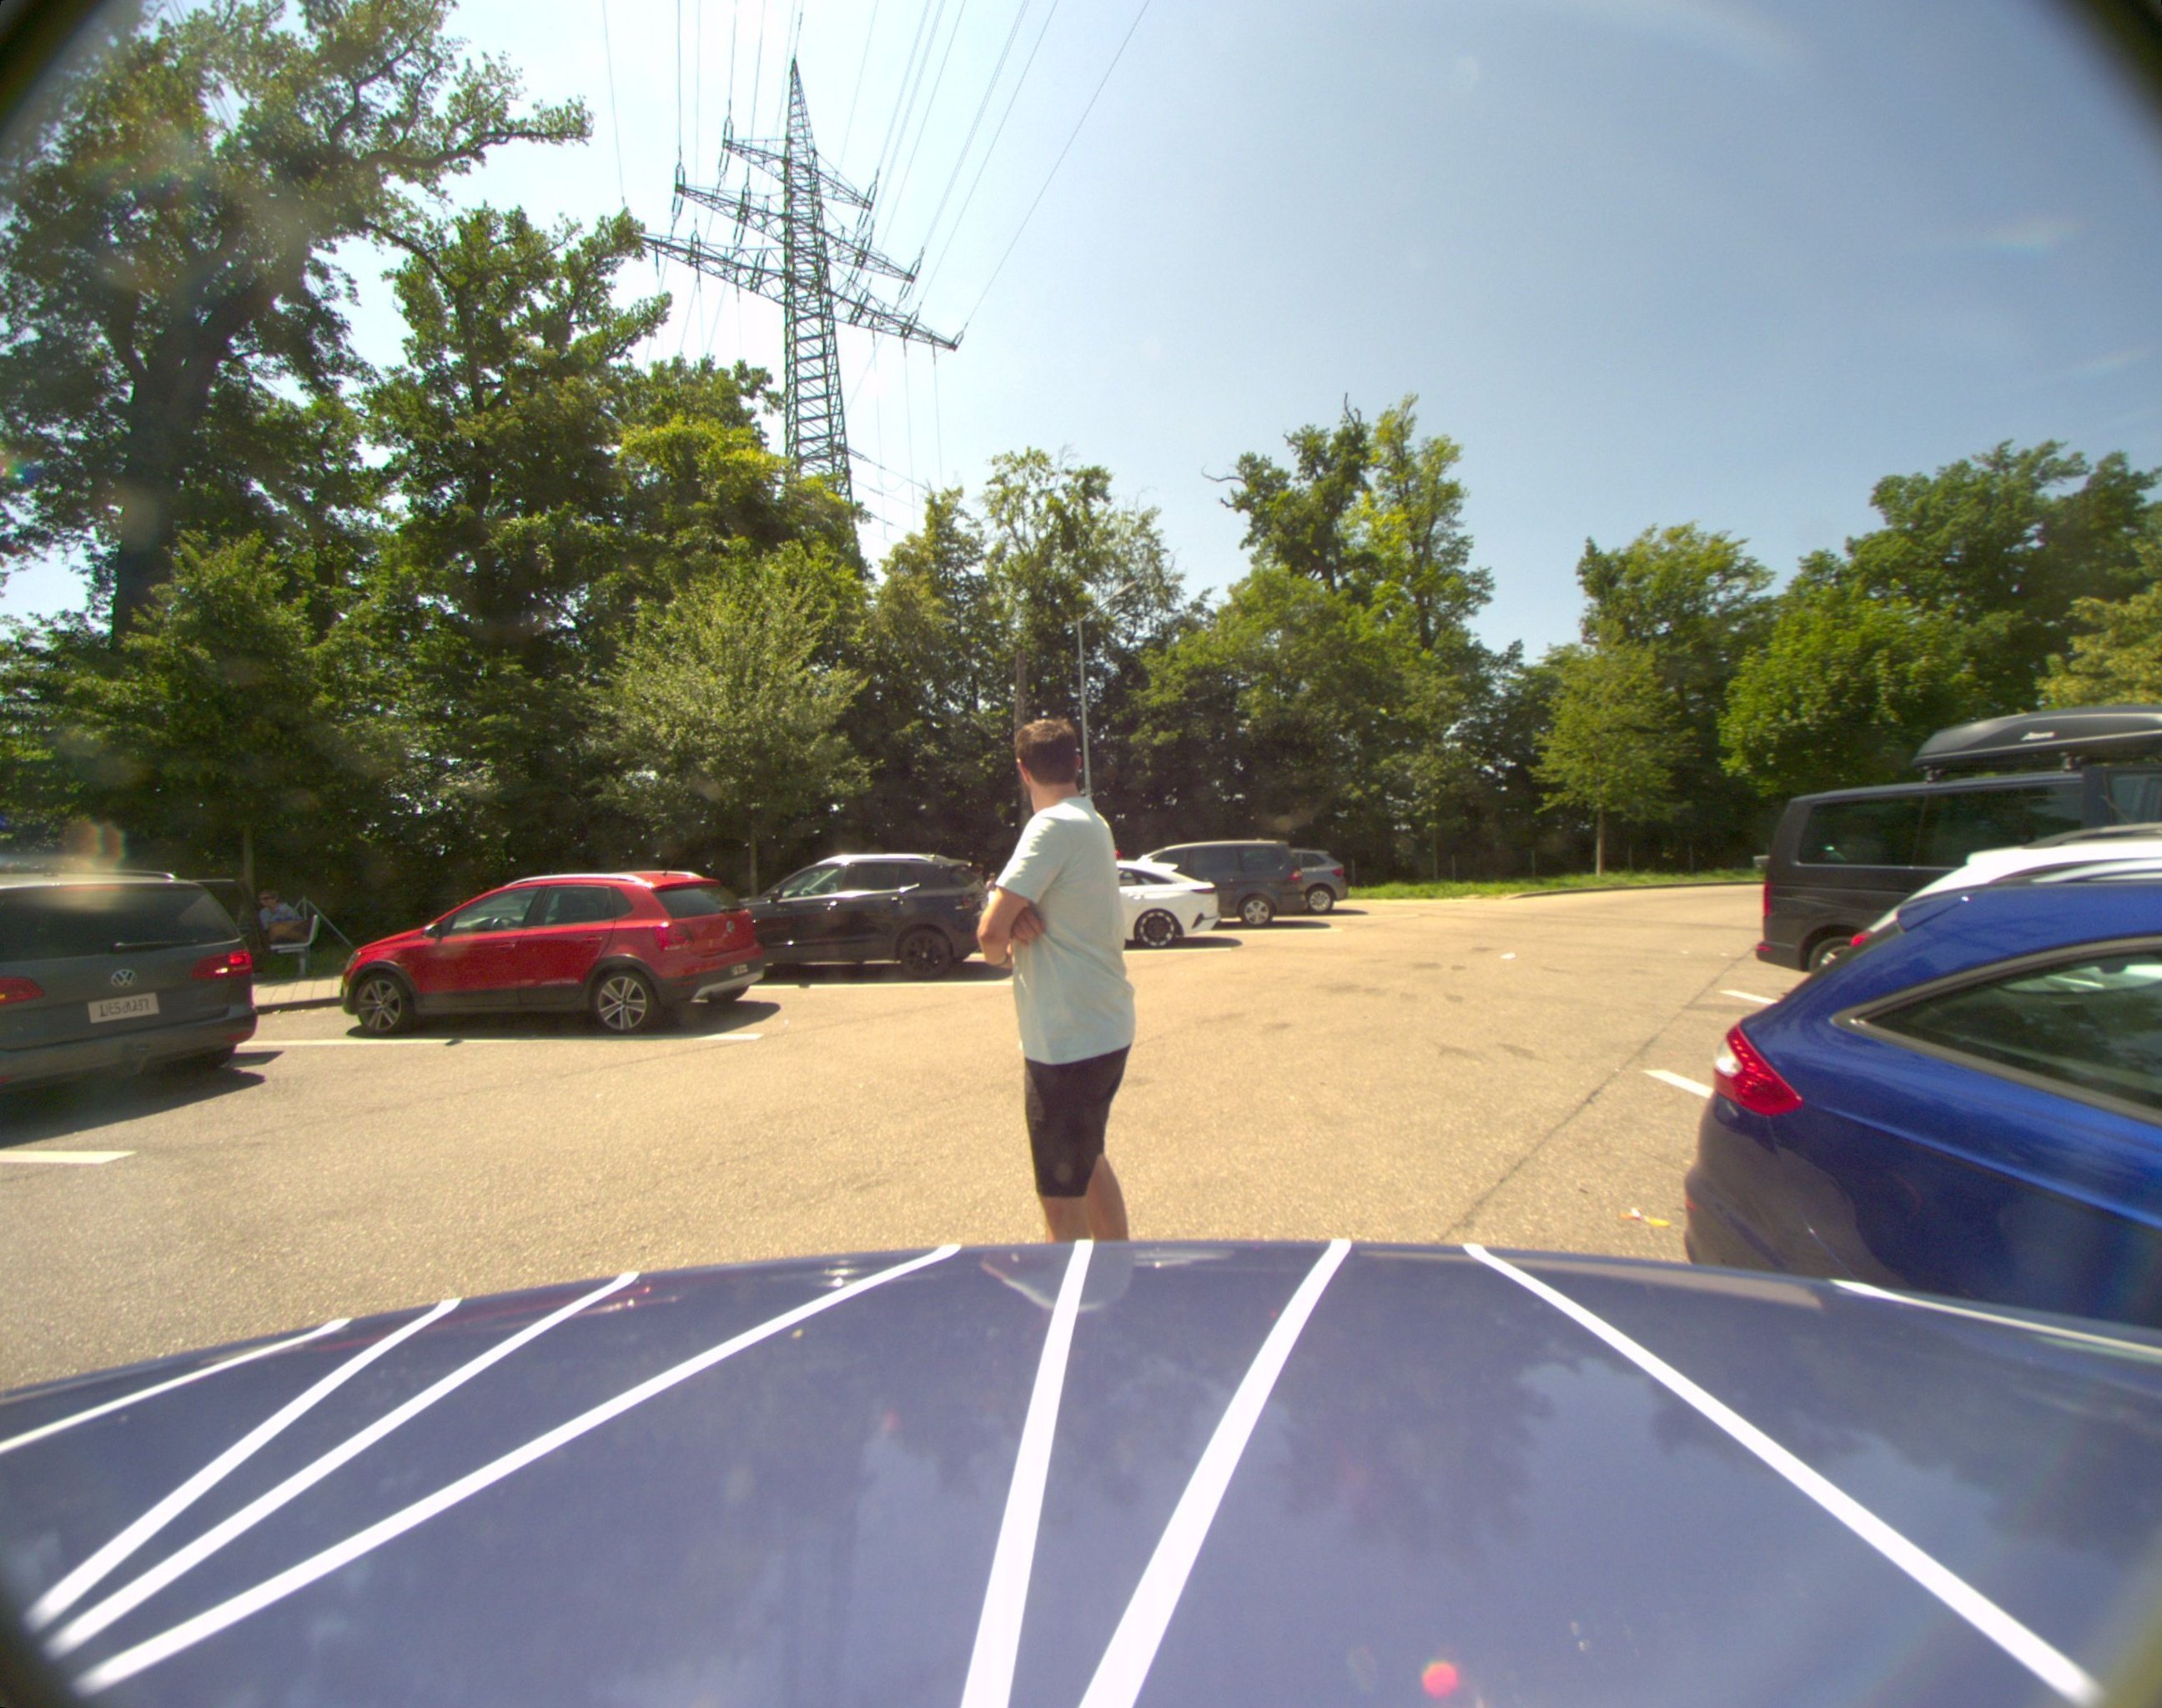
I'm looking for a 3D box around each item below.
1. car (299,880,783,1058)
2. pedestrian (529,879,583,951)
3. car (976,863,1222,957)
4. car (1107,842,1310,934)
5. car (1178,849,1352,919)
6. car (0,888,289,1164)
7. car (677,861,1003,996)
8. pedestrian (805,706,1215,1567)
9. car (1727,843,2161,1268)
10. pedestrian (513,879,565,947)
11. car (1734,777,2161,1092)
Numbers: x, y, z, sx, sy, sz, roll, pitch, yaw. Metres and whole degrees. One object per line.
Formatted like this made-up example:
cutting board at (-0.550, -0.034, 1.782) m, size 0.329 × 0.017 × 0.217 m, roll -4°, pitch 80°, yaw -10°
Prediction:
car at (-5.251, 1.064, 7.646) m, size 3.785 × 1.457 × 1.722 m, roll -1°, pitch 1°, yaw 9°
pedestrian at (-10.030, 1.137, 14.513) m, size 0.782 × 1.287 × 0.670 m, roll -1°, pitch 2°, yaw 45°
car at (0.352, 0.899, 12.723) m, size 3.819 × 1.377 × 1.722 m, roll -1°, pitch 1°, yaw 6°
car at (2.575, 0.667, 15.449) m, size 3.818 × 1.714 × 1.722 m, roll -1°, pitch 1°, yaw 12°
car at (4.326, 0.691, 18.151) m, size 3.818 × 1.530 × 1.722 m, roll -1°, pitch 1°, yaw 12°
car at (-8.303, 1.104, 5.436) m, size 3.985 × 1.572 × 1.749 m, roll -1°, pitch 1°, yaw 12°
car at (-3.079, 0.936, 10.256) m, size 3.787 × 1.564 × 1.721 m, roll -1°, pitch 1°, yaw 2°
pedestrian at (-0.162, 0.598, 2.139) m, size 0.620 × 1.831 × 0.892 m, roll -1°, pitch 2°, yaw 42°
car at (4.862, 0.724, 2.280) m, size 1.741 × 1.524 × 4.642 m, roll -3°, pitch -1°, yaw -2°
pedestrian at (-10.910, 1.162, 15.300) m, size 0.782 × 1.287 × 0.670 m, roll -1°, pitch 2°, yaw 45°
car at (7.309, 0.437, 4.910) m, size 1.961 × 1.858 × 4.642 m, roll -3°, pitch -1°, yaw -3°
